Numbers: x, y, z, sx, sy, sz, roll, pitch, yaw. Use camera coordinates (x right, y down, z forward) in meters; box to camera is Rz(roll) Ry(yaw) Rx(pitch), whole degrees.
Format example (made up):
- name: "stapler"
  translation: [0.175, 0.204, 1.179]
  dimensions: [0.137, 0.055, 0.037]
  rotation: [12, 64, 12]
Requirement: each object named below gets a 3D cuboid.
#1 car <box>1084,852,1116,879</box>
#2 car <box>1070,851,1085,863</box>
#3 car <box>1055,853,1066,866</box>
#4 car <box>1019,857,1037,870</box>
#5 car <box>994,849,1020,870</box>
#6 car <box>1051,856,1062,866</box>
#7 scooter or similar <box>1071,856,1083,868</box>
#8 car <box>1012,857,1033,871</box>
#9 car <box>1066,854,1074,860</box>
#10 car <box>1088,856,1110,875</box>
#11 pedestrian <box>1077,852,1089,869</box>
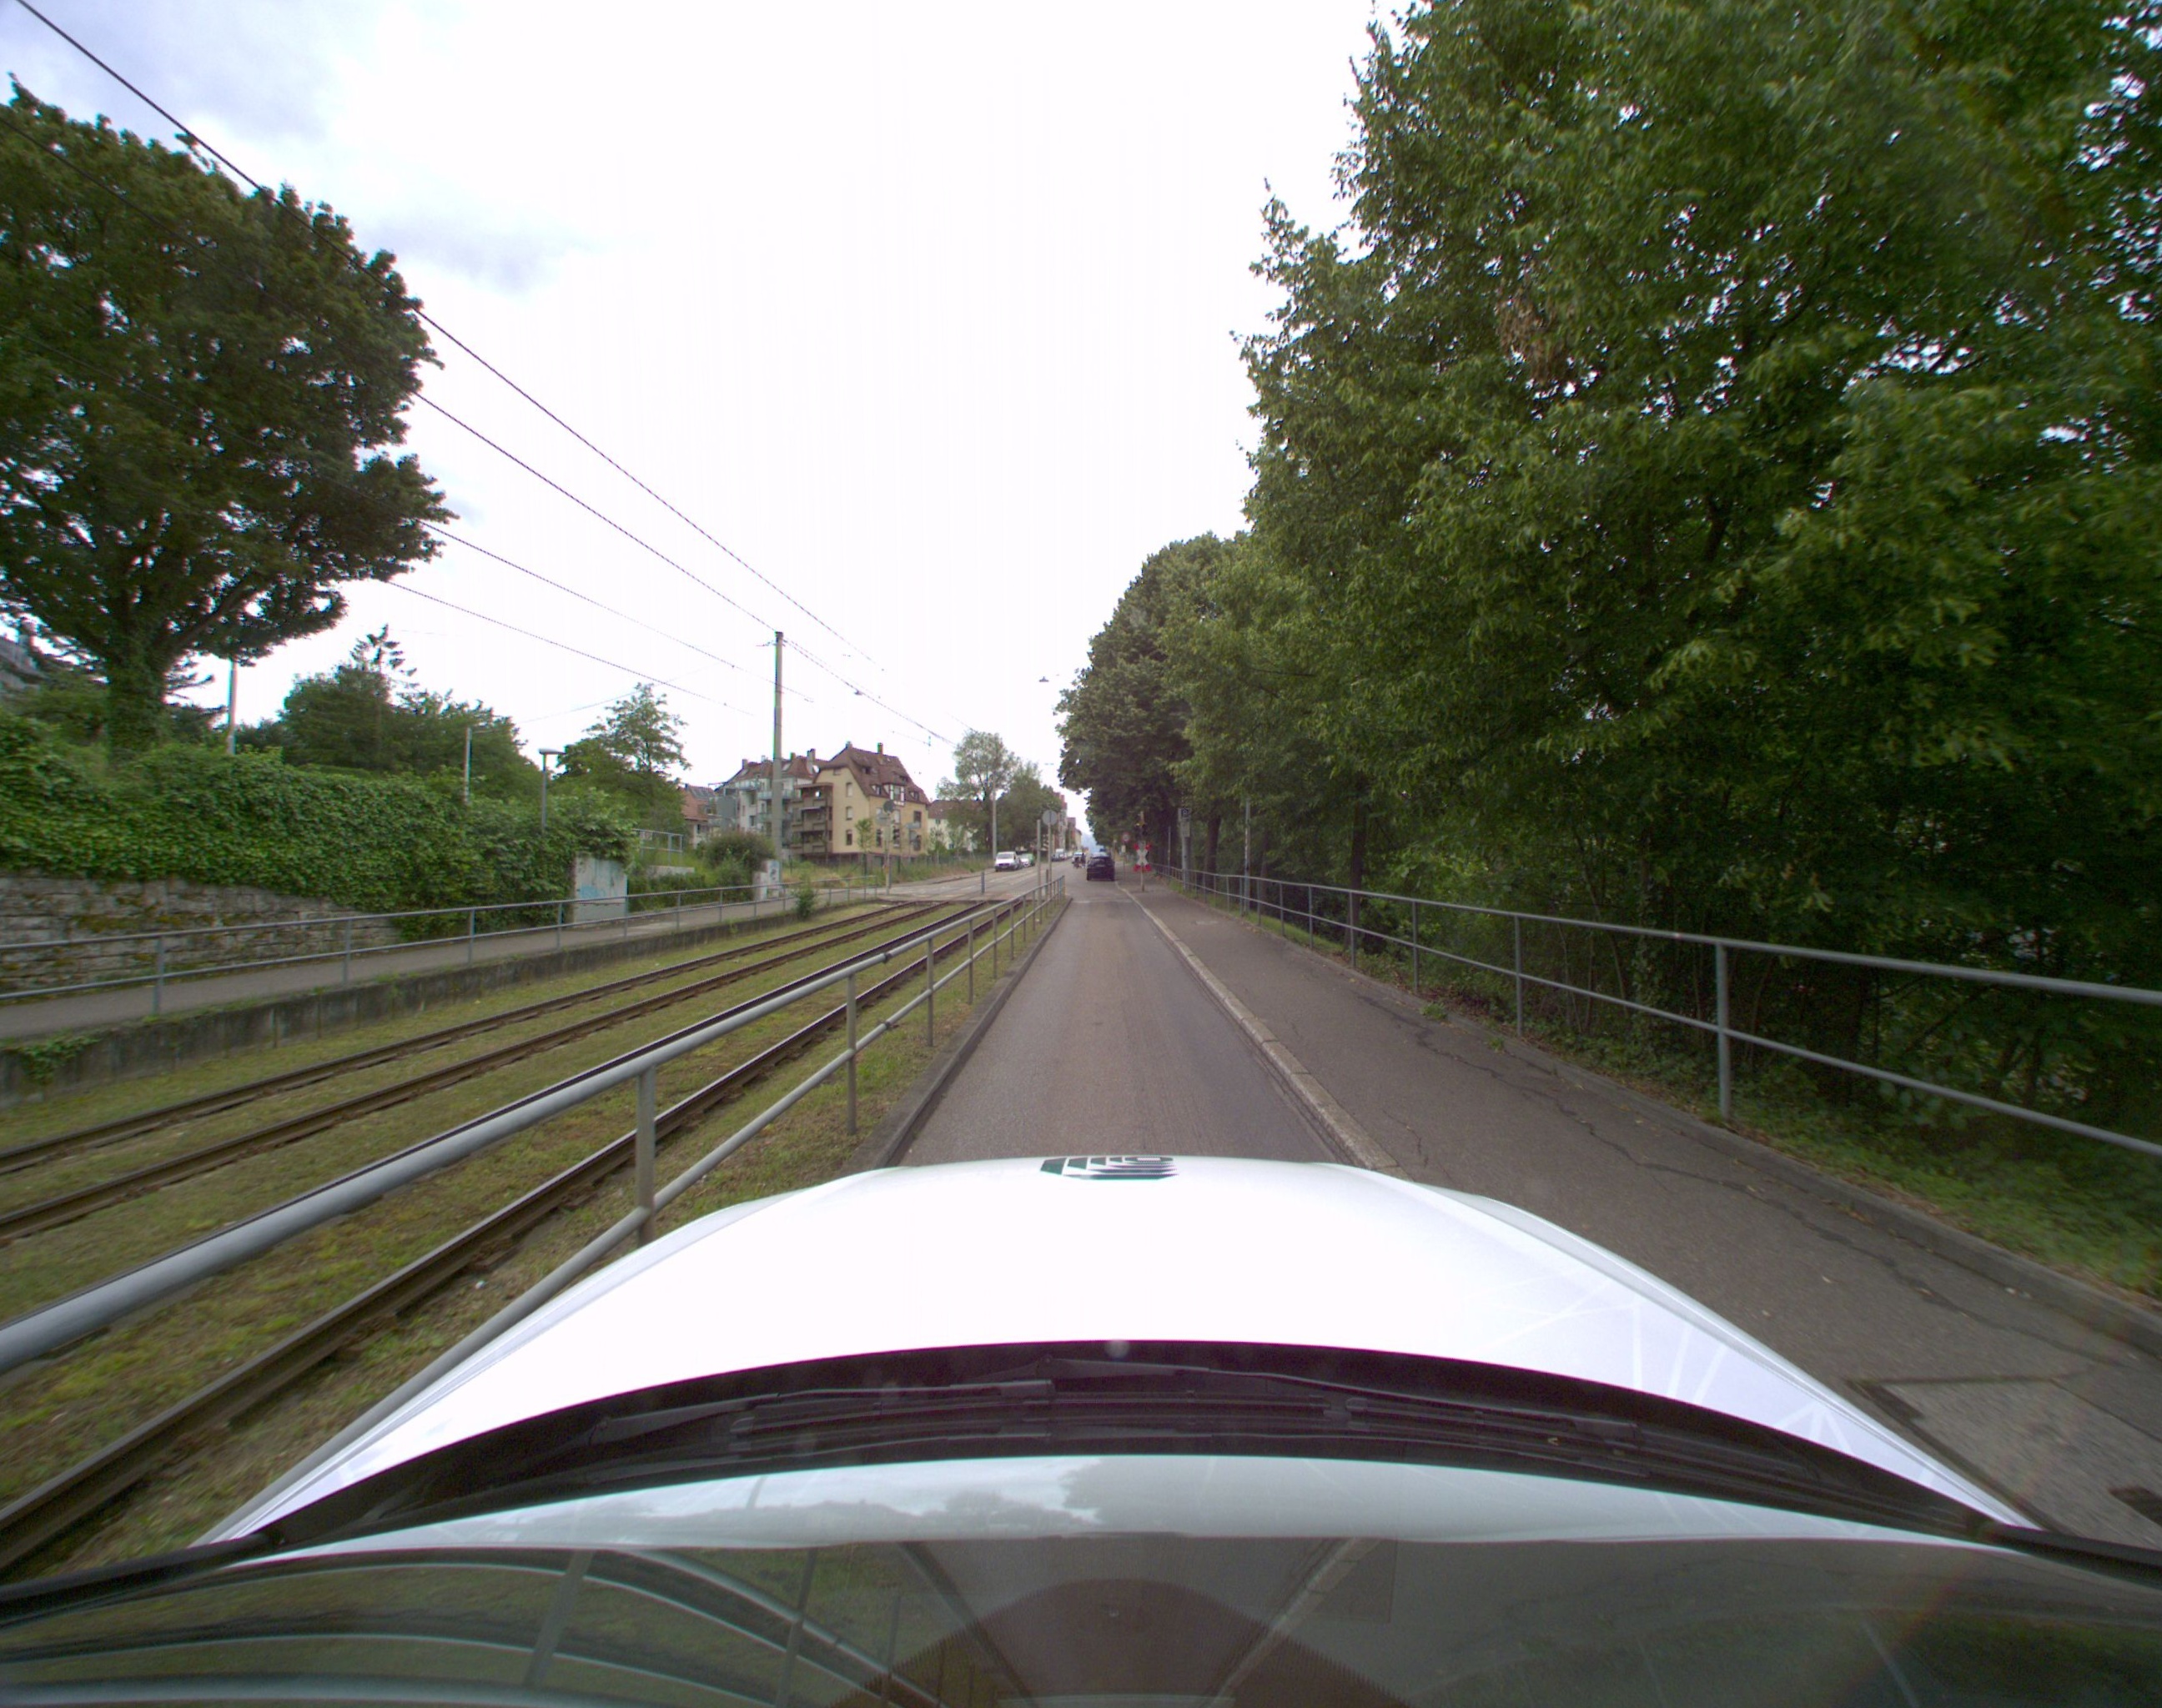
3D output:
- name: "car"
  translation: [1.287, 0.722, 53.268]
  dimensions: [1.896, 1.615, 4.603]
  rotation: [1, 0, 3]
- name: "car"
  translation: [-0.460, 0.398, 110.682]
  dimensions: [1.986, 1.498, 4.313]
  rotation: [0, -1, 1]
- name: "car"
  translation: [-4.414, 1.154, 174.386]
  dimensions: [2.224, 2.764, 5.797]
  rotation: [0, -1, 0]
- name: "car"
  translation: [-6.493, 1.124, 99.420]
  dimensions: [1.717, 1.580, 4.182]
  rotation: [-2, 0, 2]
- name: "car"
  translation: [-7.177, 0.529, 79.417]
  dimensions: [2.029, 1.881, 4.884]
  rotation: [-3, -1, 0]
- name: "car"
  translation: [-4.781, 1.402, 159.890]
  dimensions: [1.985, 1.808, 4.003]
  rotation: [0, -1, 3]
- name: "scooter or similar"
  translation: [-0.423, 0.847, 82.119]
  dimensions: [0.829, 1.196, 0.812]
  rotation: [-1, -2, 43]
- name: "car"
  translation: [-6.733, 1.178, 93.633]
  dimensions: [1.878, 1.526, 4.665]
  rotation: [-2, -1, 2]
- name: "car"
  translation: [-3.005, 0.715, 218.234]
  dimensions: [1.917, 1.601, 4.001]
  rotation: [0, -1, 2]
- name: "car"
  translation: [1.674, 1.059, 75.274]
  dimensions: [1.870, 1.677, 5.065]
  rotation: [2, 0, 2]
- name: "pedestrian"
  translation: [0.236, 0.647, 81.639]
  dimensions: [0.905, 1.629, 0.812]
  rotation: [-1, -2, 43]
